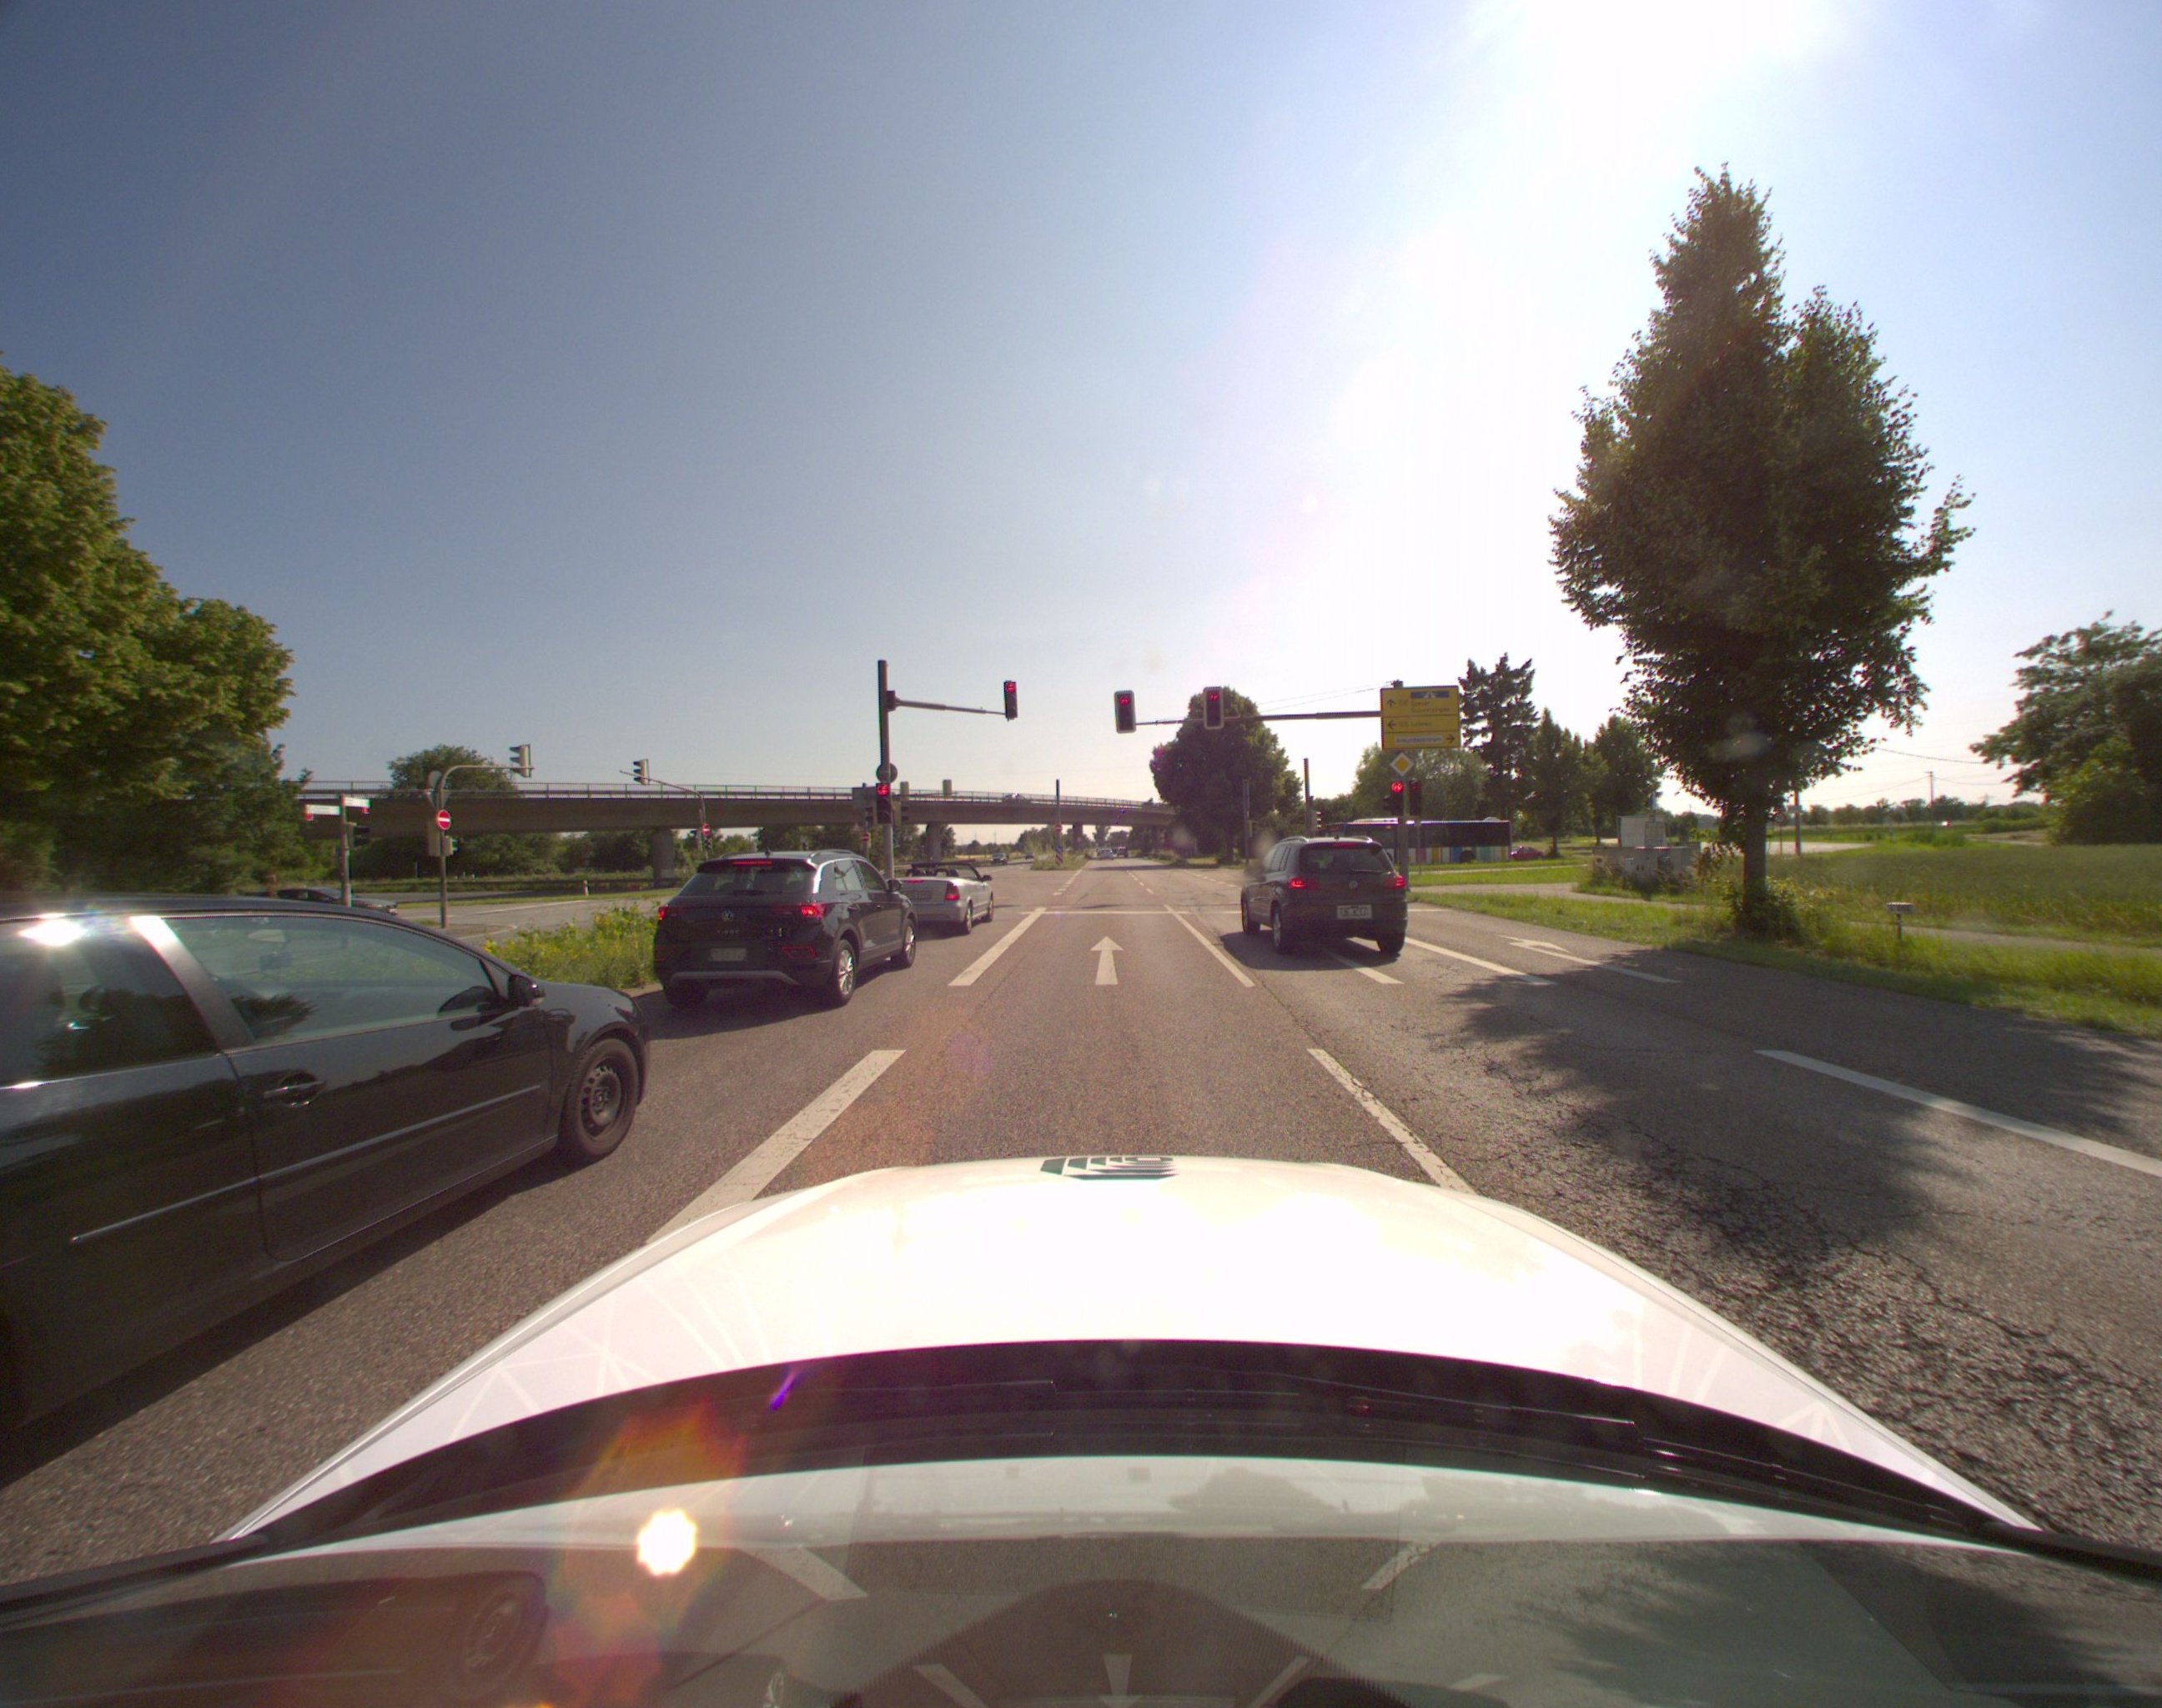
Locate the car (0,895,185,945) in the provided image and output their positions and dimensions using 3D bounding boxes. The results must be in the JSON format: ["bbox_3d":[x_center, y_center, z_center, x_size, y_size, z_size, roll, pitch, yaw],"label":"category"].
[{"bbox_3d":[-33.045,2.162,26.852,4.364,1.280,1.636,-2,0,-27],"label":"car"}]

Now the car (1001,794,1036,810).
[{"bbox_3d":[-7.226,-5.994,94.651,1.974,1.486,4.025,0,-1,32],"label":"car"}]

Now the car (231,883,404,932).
[{"bbox_3d":[-27.608,1.899,29.614,4.125,1.424,1.859,-2,0,-18],"label":"car"}]

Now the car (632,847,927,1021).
[{"bbox_3d":[-3.124,0.708,9.434,1.722,1.547,4.100,-1,1,2],"label":"car"}]

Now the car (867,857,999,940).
[{"bbox_3d":[-2.756,0.770,16.071,1.667,1.335,4.100,-1,1,2],"label":"car"}]

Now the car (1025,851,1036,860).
[{"bbox_3d":[-9.383,0.297,150.961,1.608,1.442,3.778,-4,0,2],"label":"car"}]

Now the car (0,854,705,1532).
[{"bbox_3d":[-3.208,0.777,2.917,1.660,1.474,4.100,-1,1,2],"label":"car"}]

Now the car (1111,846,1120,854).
[{"bbox_3d":[7.913,-0.888,185.910,1.986,1.631,4.001,1,0,1],"label":"car"}]

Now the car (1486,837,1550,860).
[{"bbox_3d":[30.342,-0.384,56.564,4.000,1.398,1.670,-2,0,-20],"label":"car"}]

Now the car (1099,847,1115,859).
[{"bbox_3d":[3.335,-0.104,103.423,1.843,1.460,4.003,0,0,3],"label":"car"}]

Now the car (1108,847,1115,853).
[{"bbox_3d":[9.268,-1.188,244.848,1.986,1.655,4.002,1,0,2],"label":"car"}]

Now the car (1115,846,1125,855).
[{"bbox_3d":[7.151,-0.609,150.108,1.866,1.640,4.003,0,0,3],"label":"car"}]

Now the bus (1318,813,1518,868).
[{"bbox_3d":[20.828,-0.864,50.389,11.953,2.877,2.929,-2,0,-14],"label":"bus"}]

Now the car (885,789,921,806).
[{"bbox_3d":[-17.378,-5.521,79.489,1.307,1.486,3.218,-2,0,41],"label":"car"}]

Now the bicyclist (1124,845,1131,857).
[{"bbox_3d":[7.212,-0.451,126.184,1.003,1.886,1.328,-2,0,3],"label":"bicyclist"}]

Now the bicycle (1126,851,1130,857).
[{"bbox_3d":[7.268,-0.001,125.962,0.598,0.983,2.362,-2,0,2],"label":"bicycle"}]

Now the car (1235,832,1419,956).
[{"bbox_3d":[3.680,0.528,12.955,1.749,1.655,4.147,0,0,1],"label":"car"}]

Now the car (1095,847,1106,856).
[{"bbox_3d":[3.547,-0.414,146.847,1.866,1.492,4.003,-1,0,3],"label":"car"}]

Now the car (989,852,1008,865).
[{"bbox_3d":[-10.752,0.548,106.652,1.876,1.515,4.148,-5,0,1],"label":"car"}]
